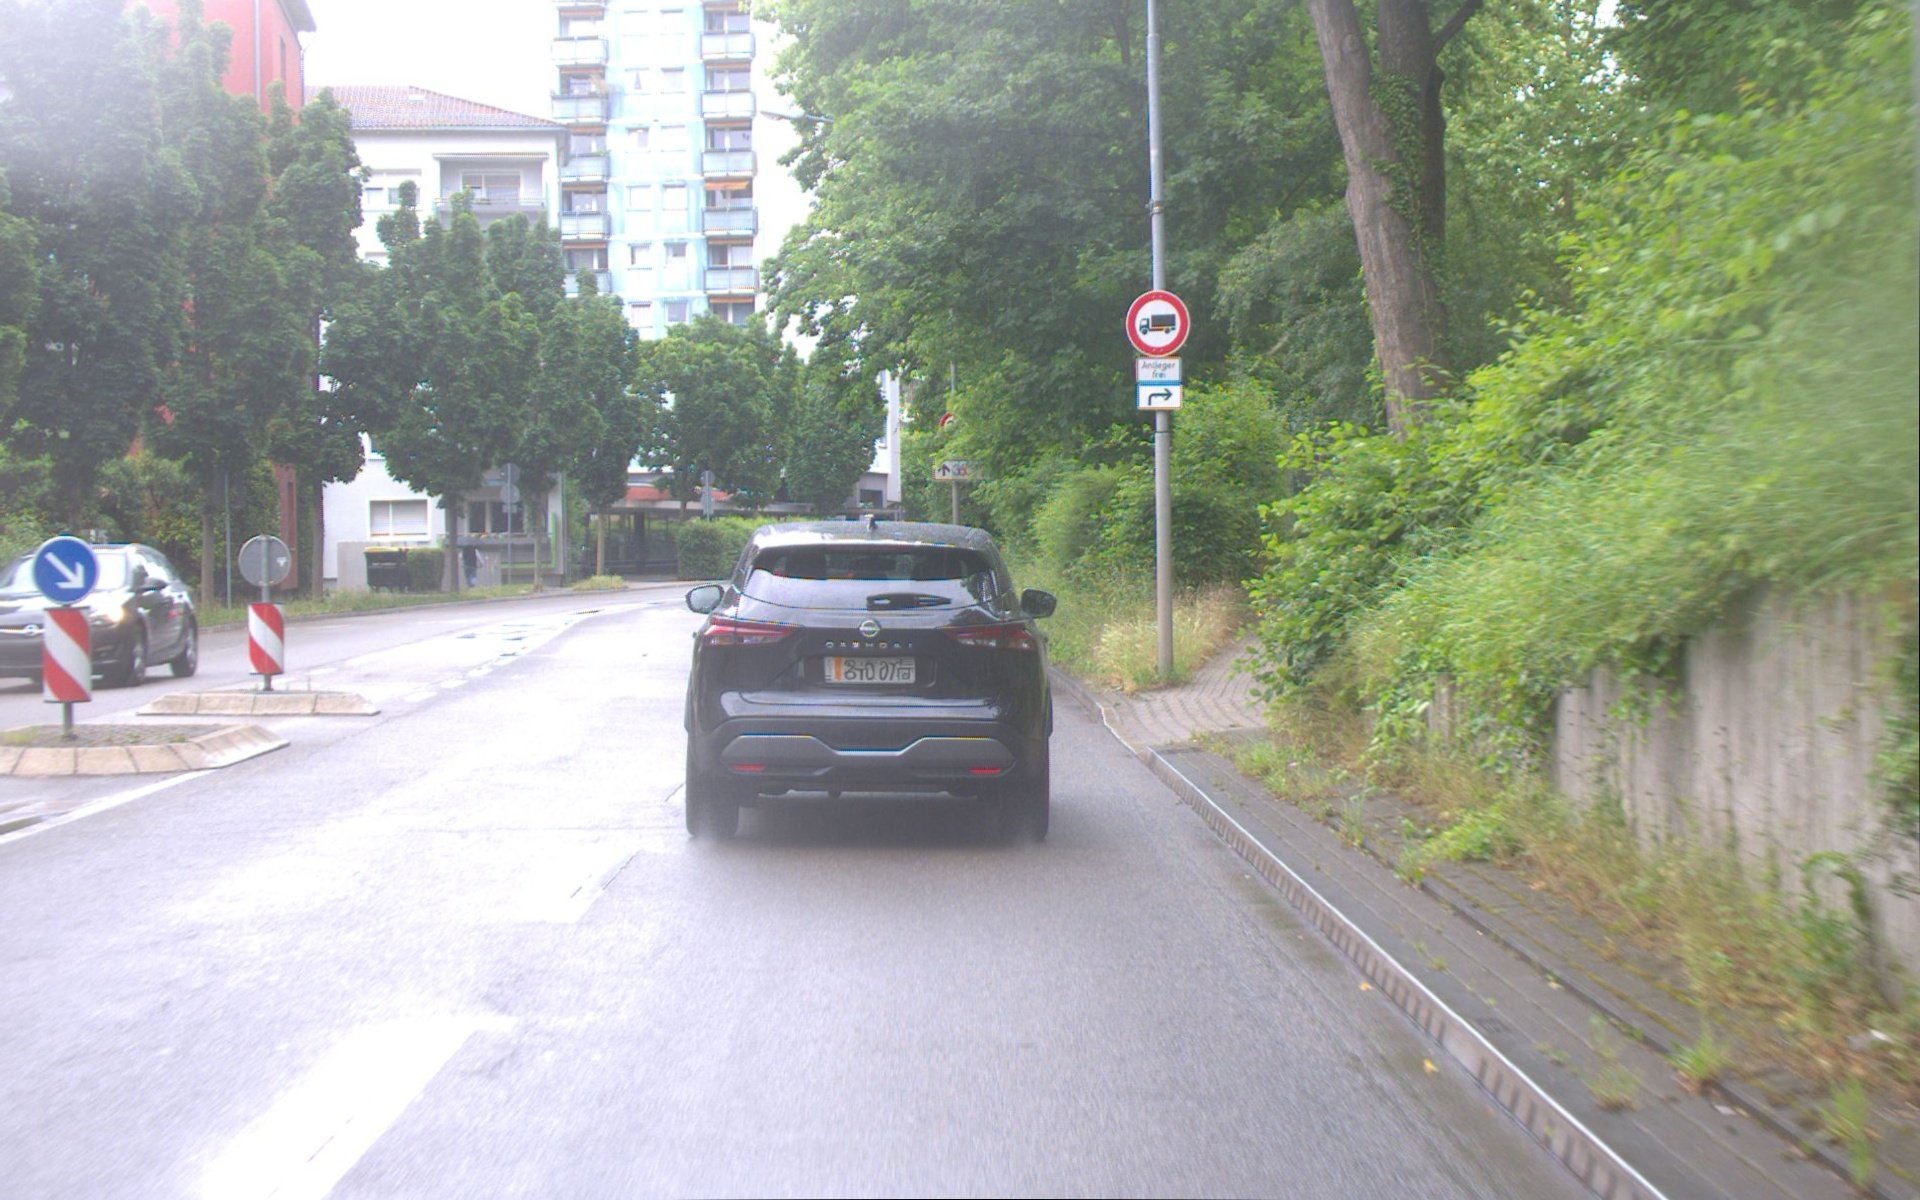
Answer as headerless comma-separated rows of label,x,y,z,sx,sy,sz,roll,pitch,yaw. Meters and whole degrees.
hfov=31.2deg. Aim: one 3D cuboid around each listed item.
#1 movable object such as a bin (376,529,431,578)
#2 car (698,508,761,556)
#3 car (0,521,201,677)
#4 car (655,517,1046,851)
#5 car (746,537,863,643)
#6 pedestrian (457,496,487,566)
movable object such as a bin,-15.928,-1.326,98.427,1.321,1.357,1.258,-1,1,0
car,-9.038,-2.685,135.147,1.799,1.835,3.999,-1,1,6
car,-9.281,-0.051,36.075,1.787,1.499,4.649,-2,1,-3
car,-0.612,0.356,18.359,1.844,1.577,4.001,0,1,-3
car,-2.583,-0.193,57.717,1.887,1.705,4.000,0,1,-2
pedestrian,-14.173,-2.016,99.814,0.716,2.007,0.950,-1,1,0
